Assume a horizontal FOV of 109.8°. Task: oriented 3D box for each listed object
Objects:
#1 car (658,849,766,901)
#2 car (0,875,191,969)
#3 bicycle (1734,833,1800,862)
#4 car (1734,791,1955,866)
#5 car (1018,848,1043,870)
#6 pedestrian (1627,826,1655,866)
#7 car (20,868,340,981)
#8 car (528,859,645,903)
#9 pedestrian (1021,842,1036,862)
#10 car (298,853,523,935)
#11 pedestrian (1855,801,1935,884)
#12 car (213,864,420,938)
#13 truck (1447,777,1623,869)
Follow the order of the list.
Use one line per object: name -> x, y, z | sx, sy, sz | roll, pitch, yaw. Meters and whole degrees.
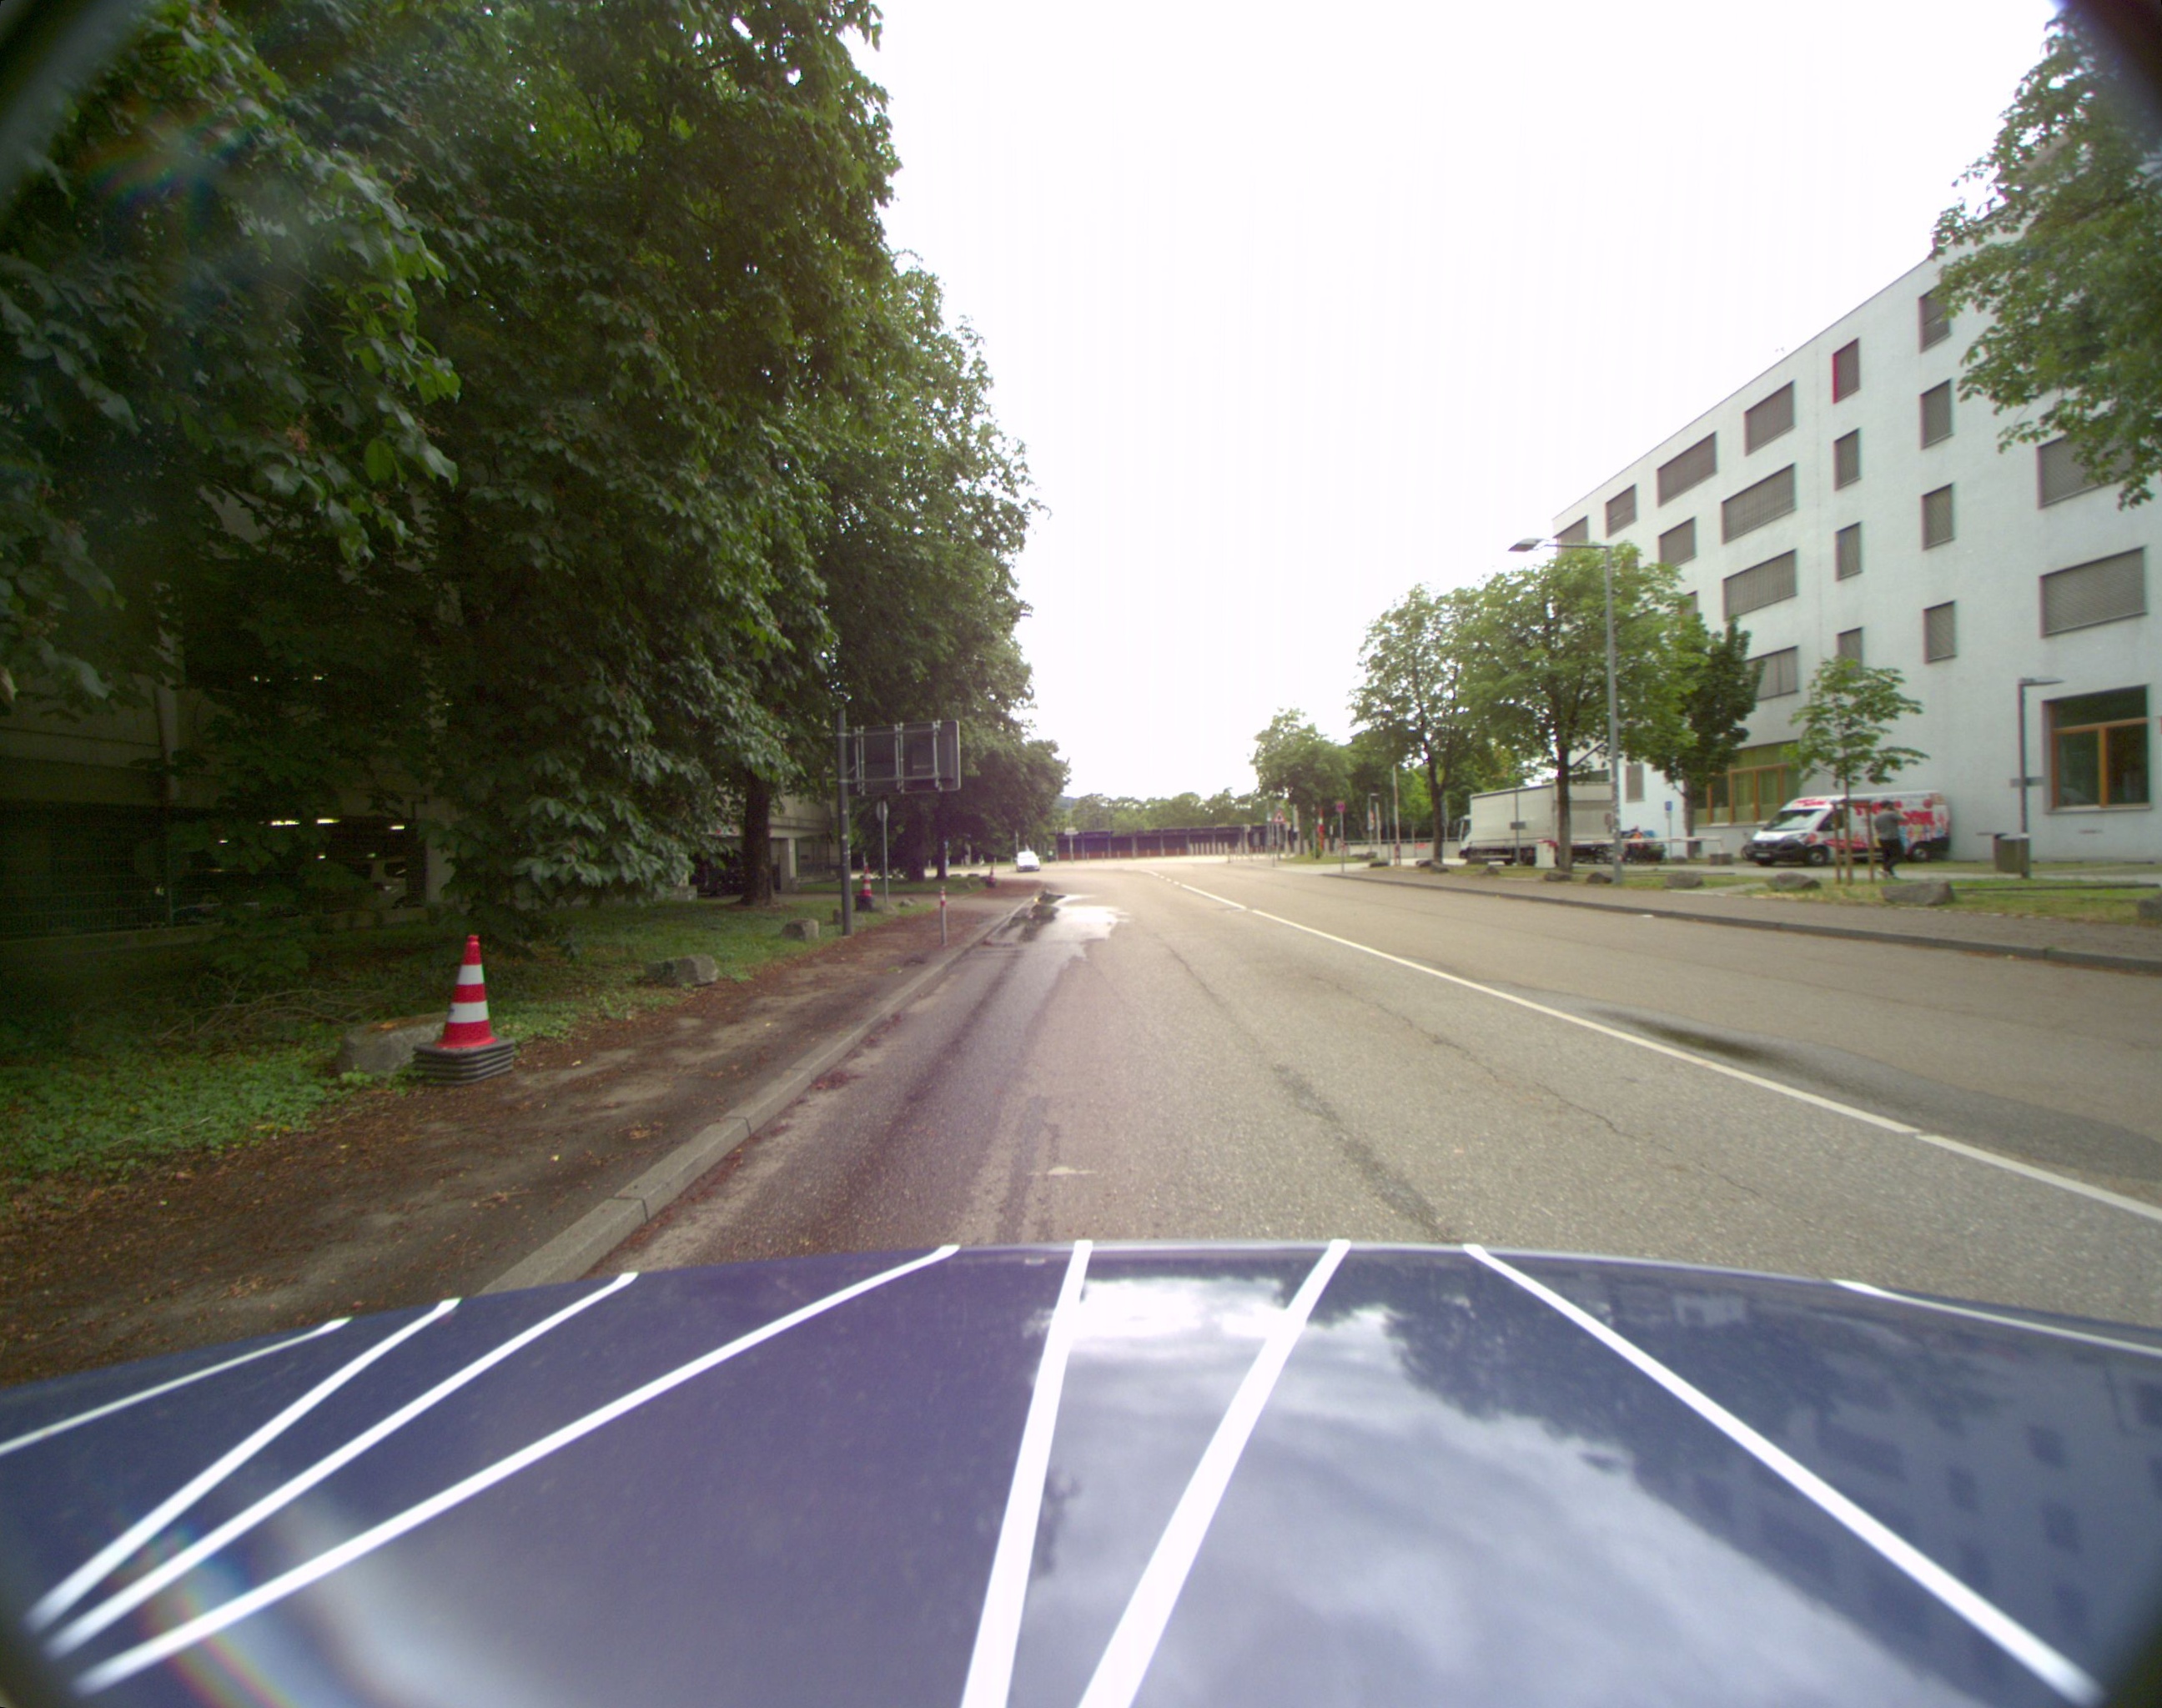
car -> -14.667, 0.749, 30.571 | 1.924, 1.824, 4.735 | -3, 1, 0
car -> -20.382, 1.314, 14.766 | 1.721, 1.537, 3.700 | -3, 2, -1
bicycle -> 27.608, -0.273, 30.589 | 2.029, 1.064, 0.613 | -3, 2, 4
car -> 26.593, -0.878, 26.593 | 5.640, 2.266, 2.078 | -3, 2, 0
car -> -3.848, 0.342, 57.897 | 1.607, 1.448, 3.500 | -3, 2, -8
pedestrian -> 23.517, -0.335, 31.911 | 0.885, 1.597, 0.681 | -1, 3, 42
car -> -17.484, 1.257, 15.084 | 1.589, 1.699, 3.856 | -3, 2, 1
car -> -20.019, 1.064, 30.984 | 1.876, 1.445, 4.000 | -3, 2, 4
pedestrian -> -5.048, -0.162, 72.588 | 1.200, 1.824, 0.927 | -3, 3, 4
car -> -17.259, 0.925, 19.950 | 1.589, 1.699, 4.666 | -3, 2, 1
pedestrian -> 17.243, -0.245, 16.112 | 0.846, 1.662, 0.786 | -3, 2, -5
car -> -20.275, 1.161, 20.411 | 1.721, 1.577, 3.690 | -3, 2, -1
truck -> 20.352, -1.354, 34.841 | 2.684, 3.580, 8.361 | -3, 2, -2
